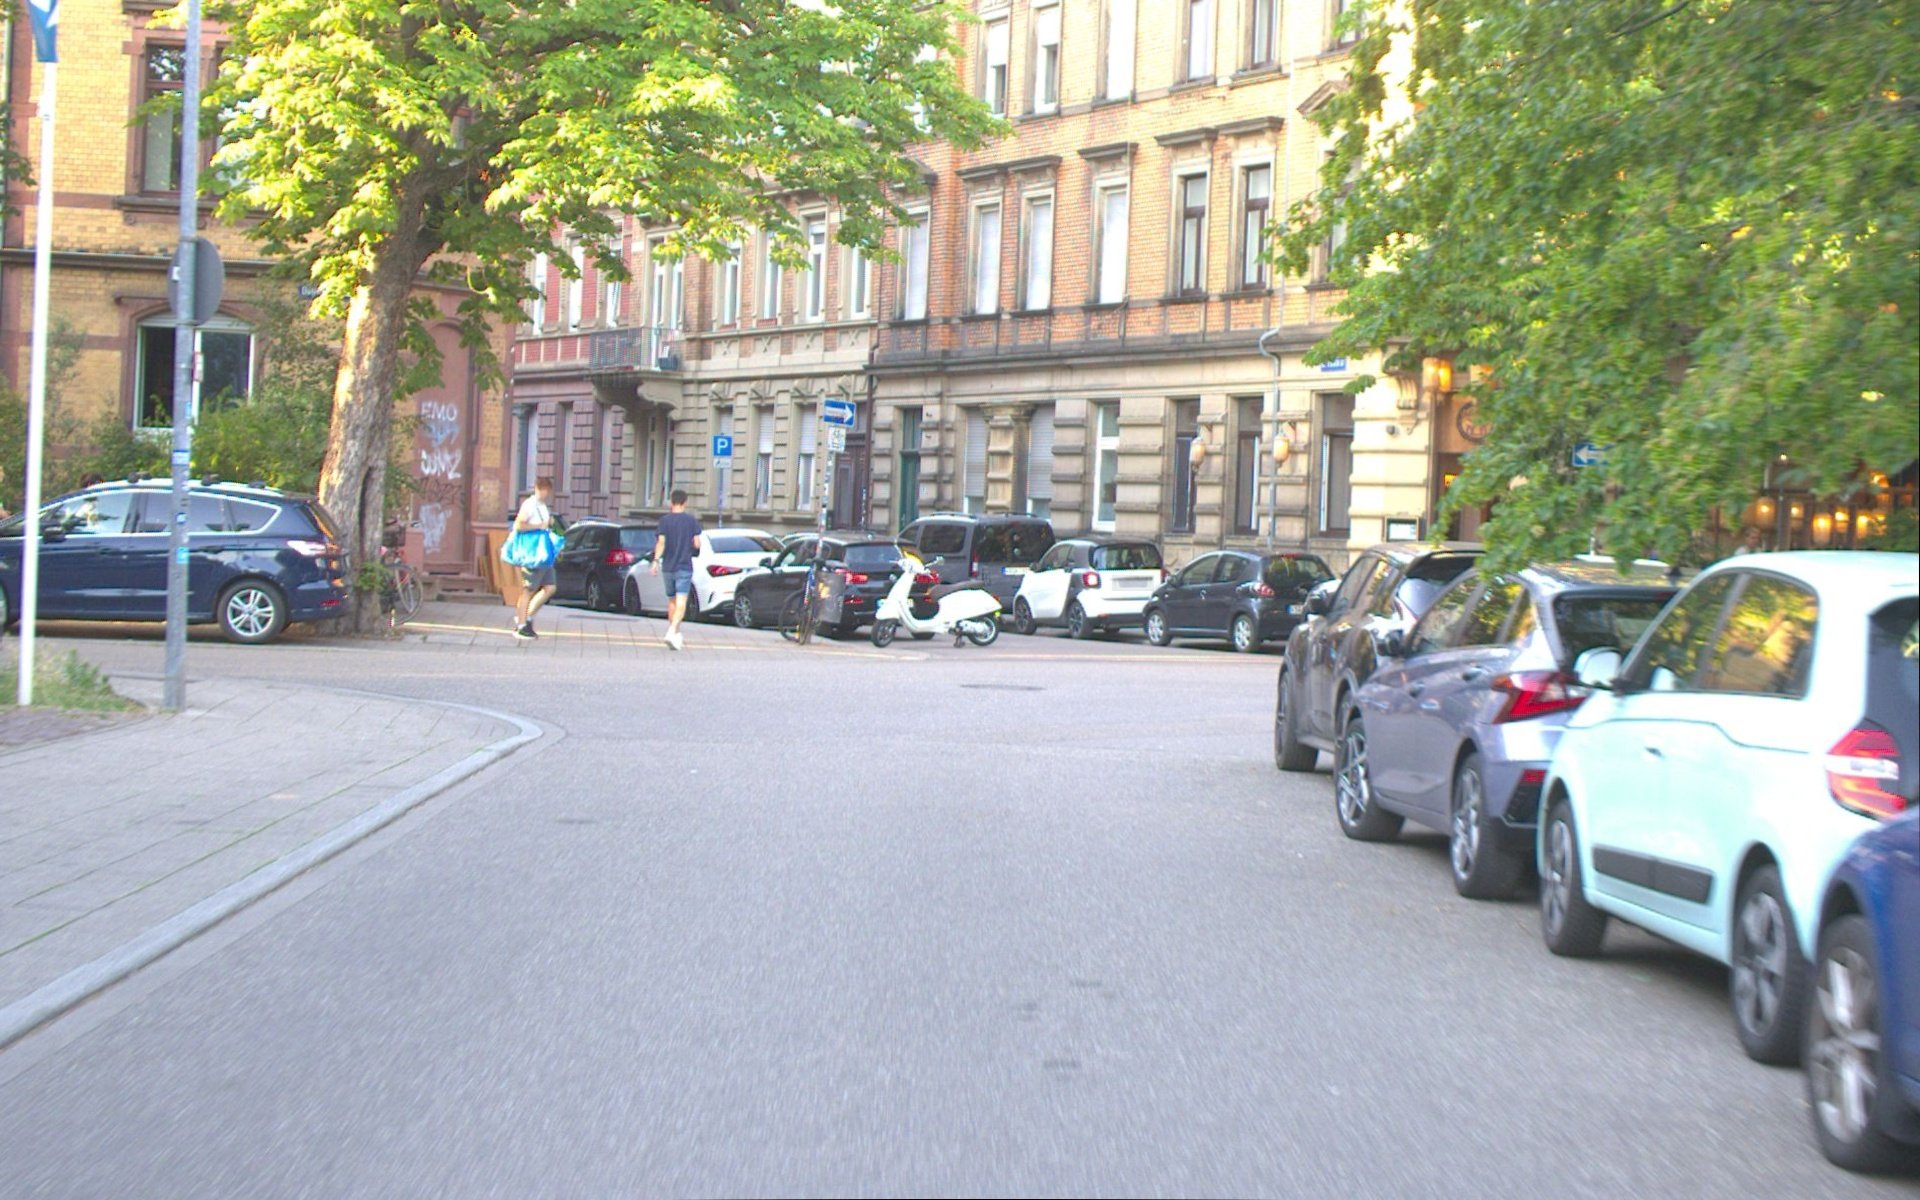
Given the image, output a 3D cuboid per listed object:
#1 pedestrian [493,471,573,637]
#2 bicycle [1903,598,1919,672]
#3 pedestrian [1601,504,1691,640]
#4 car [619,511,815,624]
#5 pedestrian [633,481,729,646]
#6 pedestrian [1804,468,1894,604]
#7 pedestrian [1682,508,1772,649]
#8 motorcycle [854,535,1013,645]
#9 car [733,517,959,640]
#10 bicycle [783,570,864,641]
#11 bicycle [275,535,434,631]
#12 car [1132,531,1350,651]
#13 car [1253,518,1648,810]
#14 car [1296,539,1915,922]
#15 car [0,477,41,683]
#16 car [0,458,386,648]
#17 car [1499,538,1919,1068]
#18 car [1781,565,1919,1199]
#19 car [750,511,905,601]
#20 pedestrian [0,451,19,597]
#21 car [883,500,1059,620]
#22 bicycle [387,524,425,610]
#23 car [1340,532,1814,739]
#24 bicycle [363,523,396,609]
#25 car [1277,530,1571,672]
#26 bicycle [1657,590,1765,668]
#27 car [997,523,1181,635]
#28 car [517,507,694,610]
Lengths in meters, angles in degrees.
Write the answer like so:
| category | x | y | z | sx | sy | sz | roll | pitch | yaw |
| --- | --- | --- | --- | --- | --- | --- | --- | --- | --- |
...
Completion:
| category | x | y | z | sx | sy | sz | roll | pitch | yaw |
| --- | --- | --- | --- | --- | --- | --- | --- | --- | --- |
| pedestrian | -4.889 | -0.536 | 39.413 | 0.815 | 1.846 | 0.803 | 2 | 2 | -5 |
| bicycle | 12.599 | 0.455 | 42.254 | 1.967 | 0.882 | 0.401 | 2 | 2 | -14 |
| pedestrian | 9.382 | -0.386 | 47.064 | 0.840 | 1.797 | 0.776 | 2 | 2 | -21 |
| car | -3.736 | -0.520 | 52.160 | 1.654 | 1.426 | 4.169 | 2 | 2 | -23 |
| pedestrian | -3.176 | -0.423 | 39.017 | 0.735 | 1.797 | 1.122 | 2 | 2 | -21 |
| pedestrian | 12.011 | -0.874 | 46.460 | 0.773 | 1.797 | 0.843 | 1 | 2 | -15 |
| pedestrian | 10.101 | -0.288 | 45.292 | 0.773 | 1.797 | 0.843 | 2 | 2 | -15 |
| motorcycle | -0.342 | -0.133 | 44.418 | 1.931 | 1.336 | 0.577 | 2 | 2 | -11 |
| car | -1.631 | -0.322 | 47.588 | 1.654 | 1.426 | 3.991 | 2 | 2 | -24 |
| bicycle | -1.674 | 0.060 | 42.301 | 0.425 | 0.819 | 1.460 | 3 | 2 | 21 |
| bicycle | -6.856 | -0.190 | 38.948 | 1.671 | 1.024 | 0.446 | 1 | 2 | -24 |
| car | 3.986 | -0.149 | 49.188 | 1.674 | 1.520 | 3.245 | 1 | 2 | -25 |
| car | 2.907 | 0.314 | 21.165 | 1.695 | 1.565 | 3.972 | 2 | 1 | -2 |
| car | 2.845 | 0.502 | 16.133 | 1.695 | 1.471 | 4.213 | 2 | 1 | -5 |
| car | -8.918 | -0.281 | 24.817 | 4.044 | 1.470 | 1.921 | 4 | 2 | -4 |
| car | -8.597 | -0.537 | 36.294 | 4.828 | 1.726 | 1.921 | 3 | 2 | -7 |
| car | 3.092 | 0.573 | 11.580 | 1.695 | 1.471 | 3.560 | 2 | 1 | -4 |
| car | 2.988 | 0.727 | 6.646 | 1.695 | 1.471 | 4.117 | 2 | 1 | -1 |
| car | -2.391 | -0.806 | 61.536 | 1.674 | 1.426 | 3.016 | 2 | 2 | -25 |
| pedestrian | -10.922 | -0.869 | 38.651 | 0.542 | 1.629 | 0.448 | 2 | 2 | -5 |
| car | 0.152 | -0.671 | 56.242 | 1.674 | 1.776 | 3.016 | 2 | 2 | -25 |
| bicycle | -6.995 | -0.428 | 43.424 | 0.319 | 1.024 | 1.678 | 2 | 2 | -5 |
| car | 5.077 | 0.284 | 27.989 | 1.880 | 1.461 | 3.961 | 5 | 3 | 43 |
| bicycle | -7.306 | -0.442 | 43.303 | 0.242 | 1.024 | 1.678 | 2 | 2 | -5 |
| car | 5.981 | -0.019 | 44.749 | 1.914 | 1.520 | 3.897 | 2 | 3 | -25 |
| bicycle | 9.521 | 0.361 | 43.614 | 0.319 | 0.911 | 1.364 | 1 | 3 | -43 |
| car | 1.956 | -0.333 | 52.769 | 1.674 | 1.520 | 2.768 | 2 | 2 | -25 |
| car | -5.866 | -0.700 | 56.556 | 1.654 | 1.426 | 3.897 | 2 | 2 | -25 |
